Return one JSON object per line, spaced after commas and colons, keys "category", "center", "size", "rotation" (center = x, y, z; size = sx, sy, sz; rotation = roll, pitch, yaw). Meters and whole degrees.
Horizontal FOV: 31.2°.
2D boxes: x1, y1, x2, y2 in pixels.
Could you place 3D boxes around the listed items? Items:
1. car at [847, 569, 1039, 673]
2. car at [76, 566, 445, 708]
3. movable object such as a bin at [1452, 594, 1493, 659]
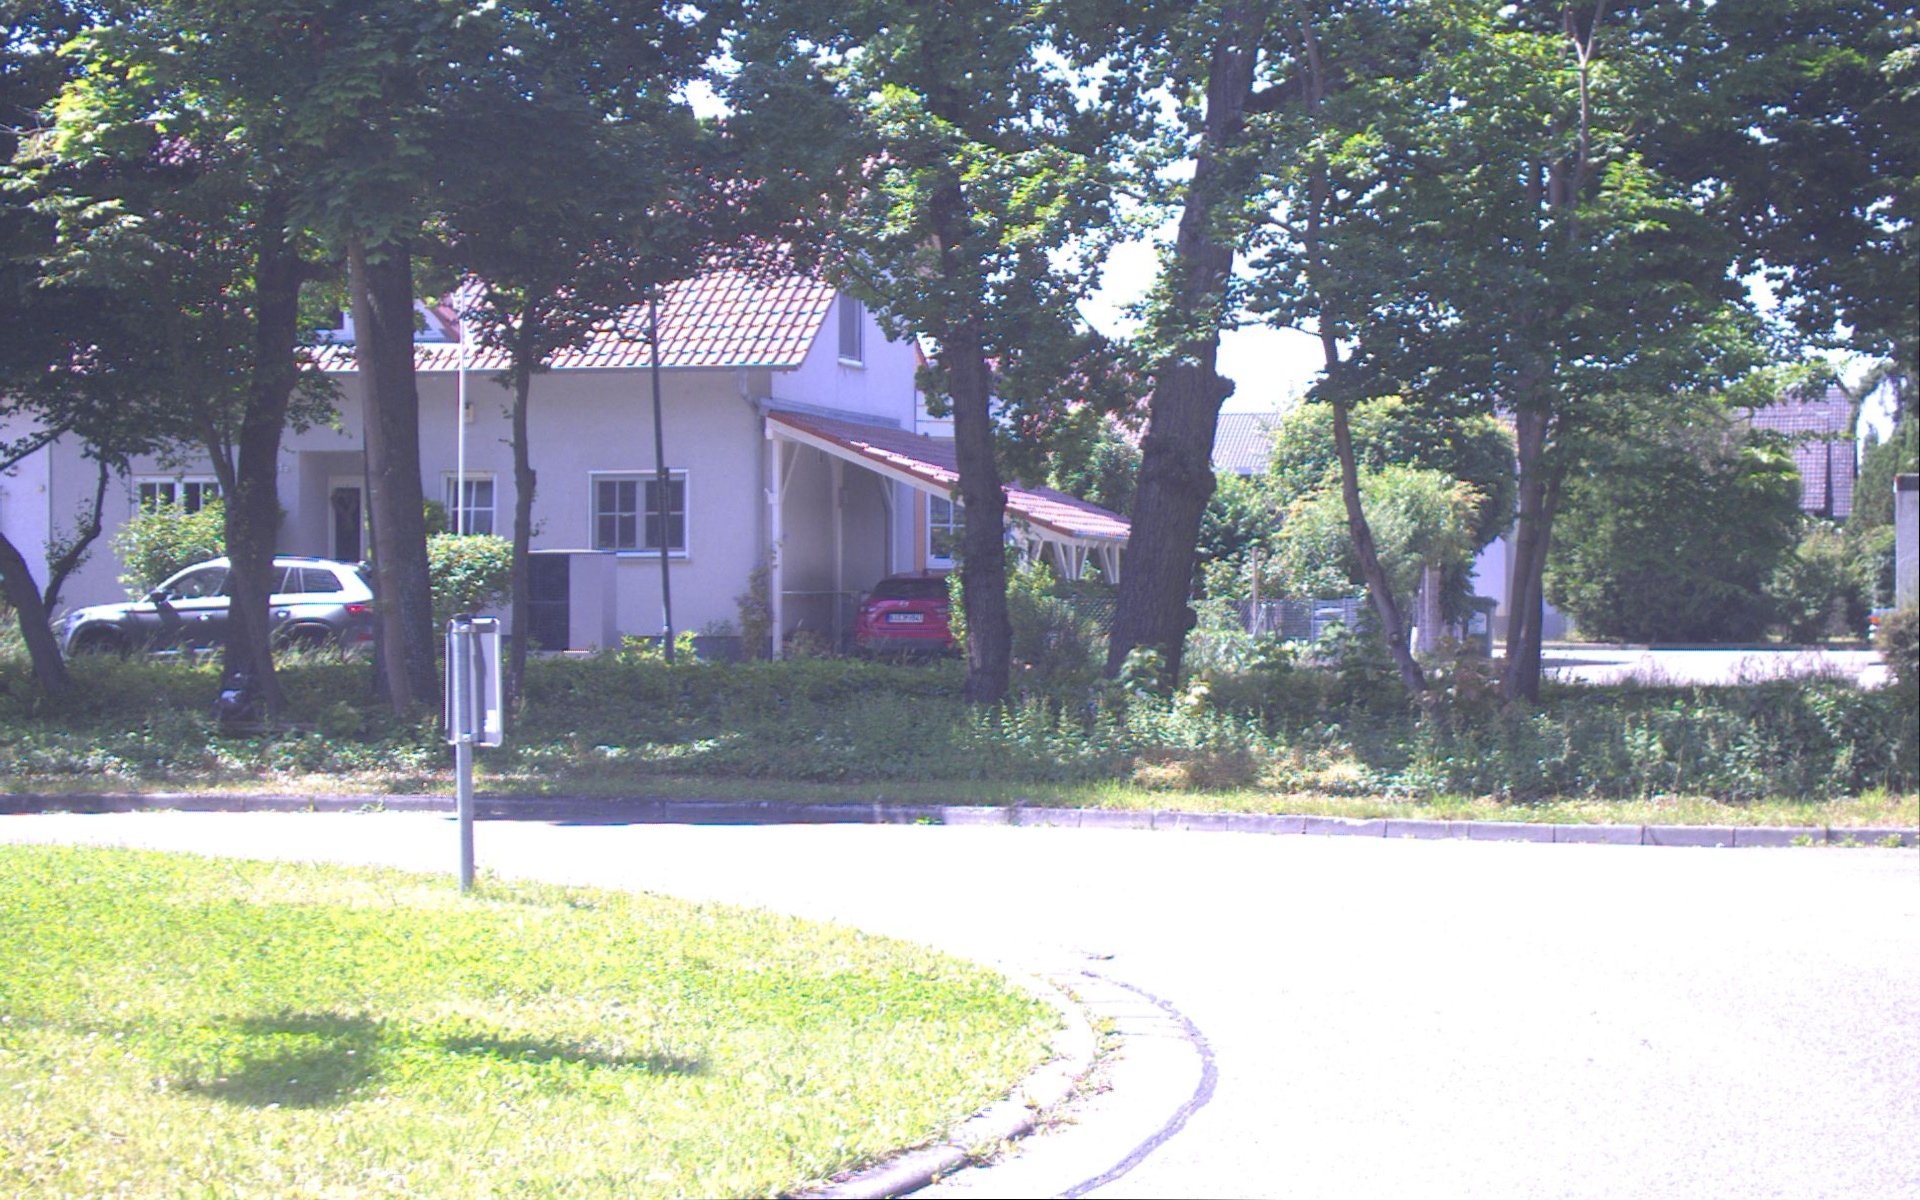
{"category": "car", "center": [-0.199, 0.264, 48.048], "size": [1.680, 1.381, 3.691], "rotation": [0, 1, 17]}
{"category": "car", "center": [-8.577, 0.435, 42.254], "size": [4.132, 1.699, 1.665], "rotation": [0, 0, 13]}
{"category": "movable object such as a bin", "center": [8.774, 0.450, 58.878], "size": [0.657, 1.108, 0.457], "rotation": [0, 0, 13]}
